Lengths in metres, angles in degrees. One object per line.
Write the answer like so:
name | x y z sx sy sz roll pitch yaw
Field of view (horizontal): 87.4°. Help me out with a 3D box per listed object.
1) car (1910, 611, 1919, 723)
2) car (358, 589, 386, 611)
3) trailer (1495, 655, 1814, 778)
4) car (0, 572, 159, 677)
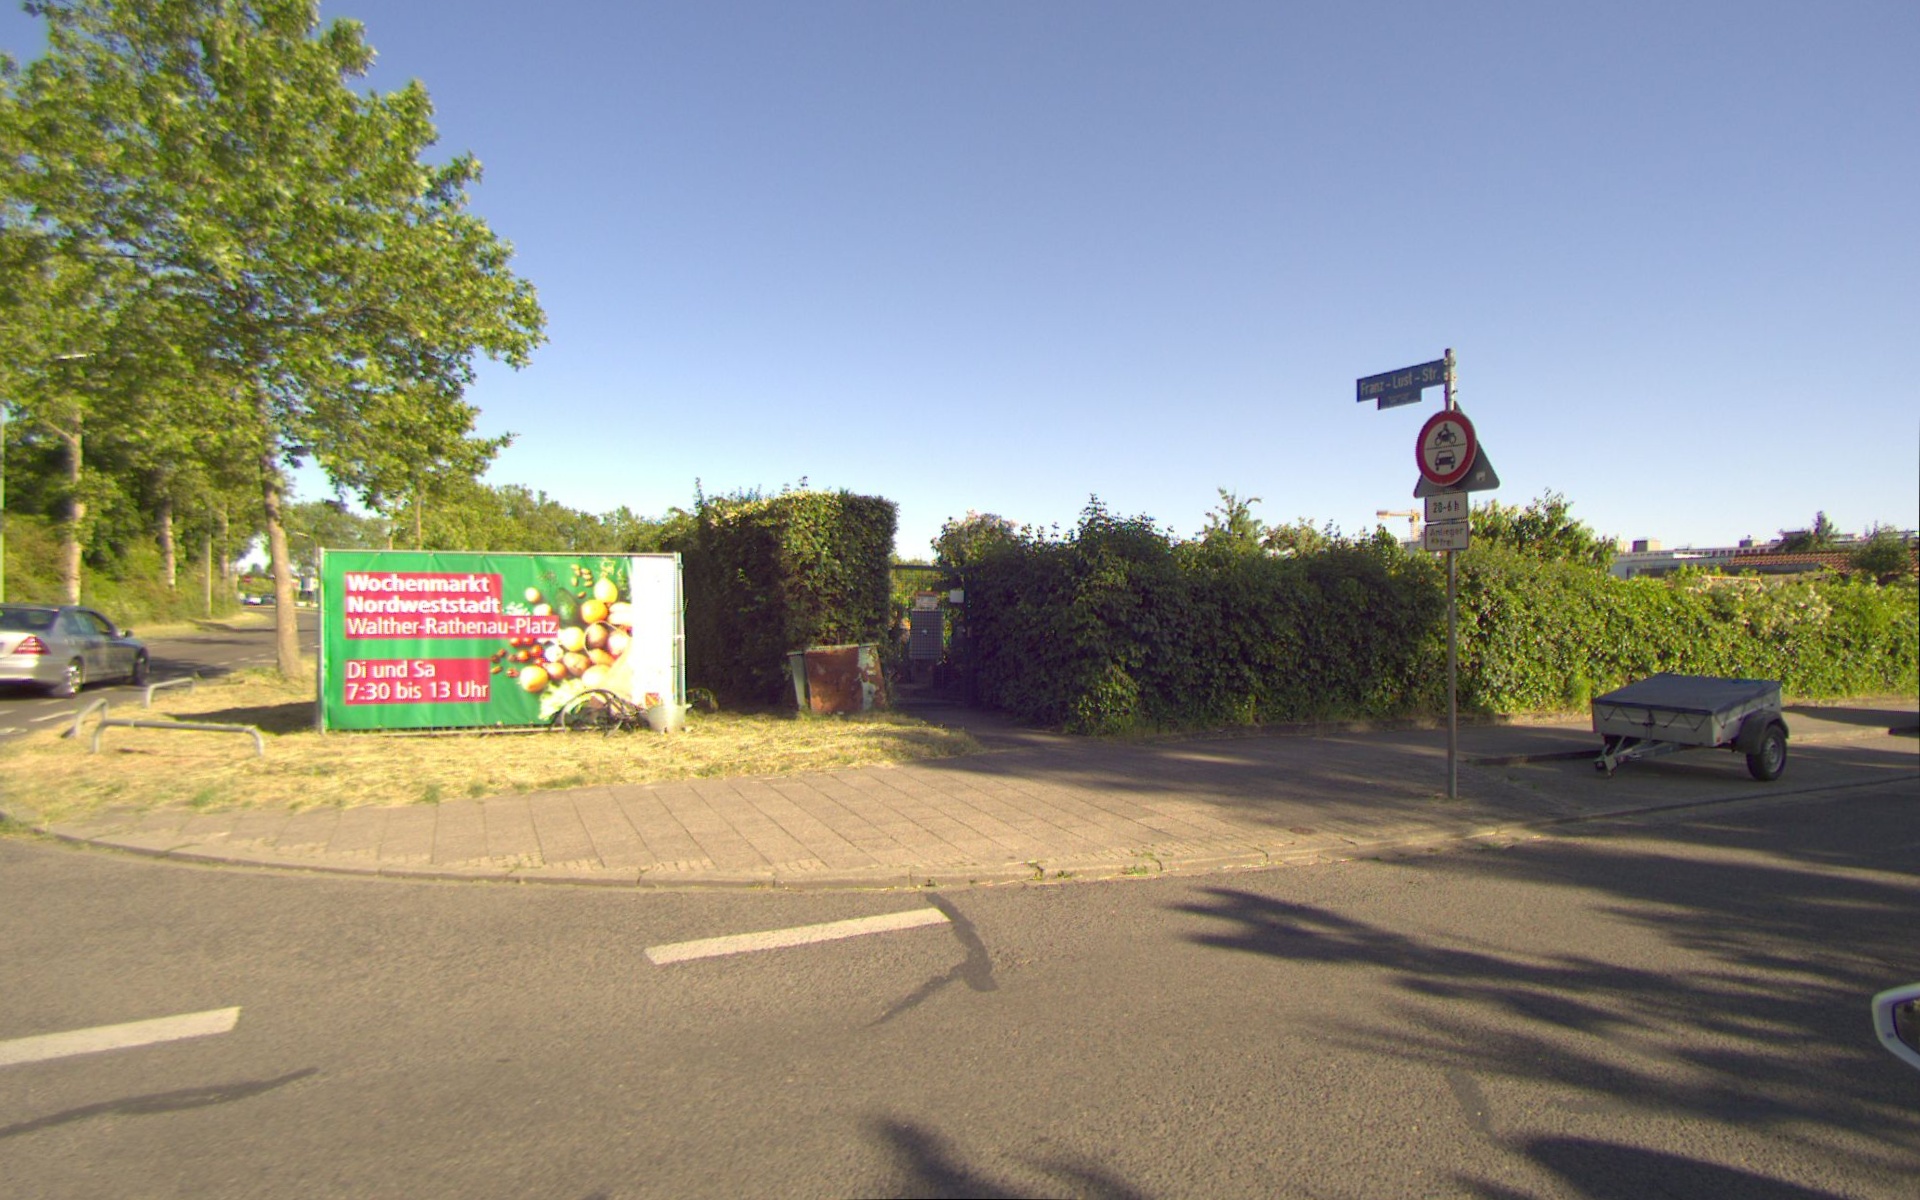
car | 16.240 1.085 14.883 4.253 1.621 1.638 2 2 -25
car | -49.340 -0.030 84.398 1.765 1.568 3.971 2 2 -27
trailer | 7.099 1.140 10.308 2.611 0.966 1.539 2 2 -25
car | -14.679 0.328 16.164 1.718 1.472 3.977 3 0 -23
